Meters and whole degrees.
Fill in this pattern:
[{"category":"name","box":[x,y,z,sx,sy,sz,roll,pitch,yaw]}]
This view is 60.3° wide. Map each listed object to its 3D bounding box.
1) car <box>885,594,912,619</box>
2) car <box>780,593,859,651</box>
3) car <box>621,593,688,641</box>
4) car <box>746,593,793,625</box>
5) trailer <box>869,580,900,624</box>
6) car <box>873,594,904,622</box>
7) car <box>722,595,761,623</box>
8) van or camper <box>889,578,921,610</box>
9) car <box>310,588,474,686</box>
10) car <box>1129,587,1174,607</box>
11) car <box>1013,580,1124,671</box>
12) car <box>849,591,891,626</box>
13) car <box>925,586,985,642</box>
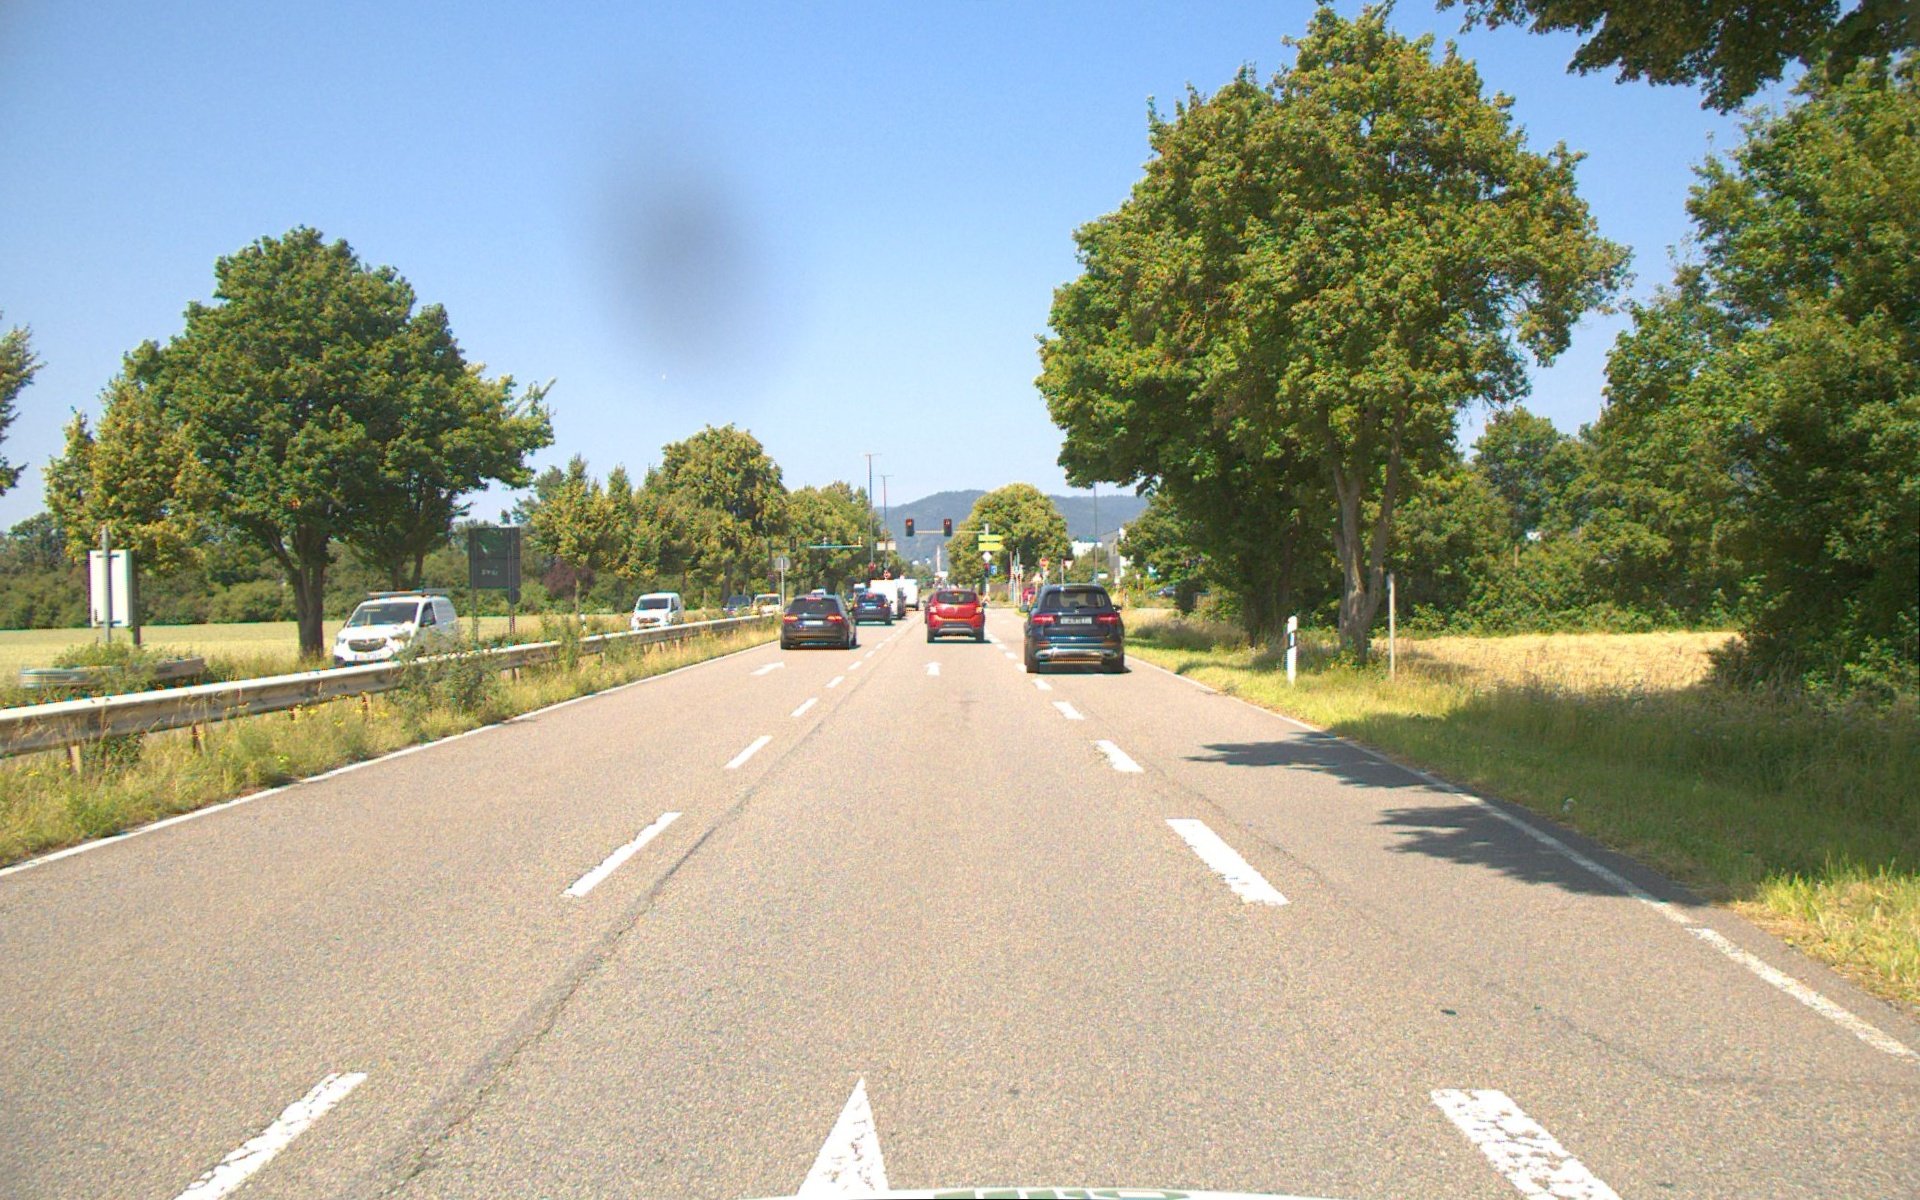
[{"category":"car","box":[-4.180,0.427,112.749,1.689,1.628,3.955,-2,0,0]},{"category":"car","box":[-3.686,0.550,43.917,1.705,1.404,4.455,-2,0,0]},{"category":"car","box":[-13.623,0.708,73.967,1.952,1.994,4.928,-2,0,1]},{"category":"car","box":[-9.966,0.462,86.951,1.953,1.584,4.480,-1,0,0]},{"category":"trailer","box":[-4.029,0.103,88.444,1.470,2.211,4.173,-2,0,-1]},{"category":"car","box":[-4.271,0.476,99.282,1.688,1.603,3.892,-1,0,0]},{"category":"car","box":[-13.992,0.571,106.211,1.953,1.691,4.479,-1,0,-1]},{"category":"van or camper","box":[-4.111,-0.458,124.106,2.134,2.343,4.827,-2,0,0]},{"category":"car","box":[-12.848,0.777,37.729,1.995,2.049,4.533,-2,0,2]},{"category":"car","box":[16.660,-0.293,143.604,3.737,1.608,2.076,-2,0,11]},{"category":"car","box":[2.043,0.445,32.208,1.952,1.645,4.340,0,0,1]},{"category":"car","box":[-4.023,0.371,74.637,1.682,1.491,4.029,-2,0,-1]},{"category":"car","box":[-0.112,0.394,49.202,1.713,1.603,3.677,0,0,1]}]
